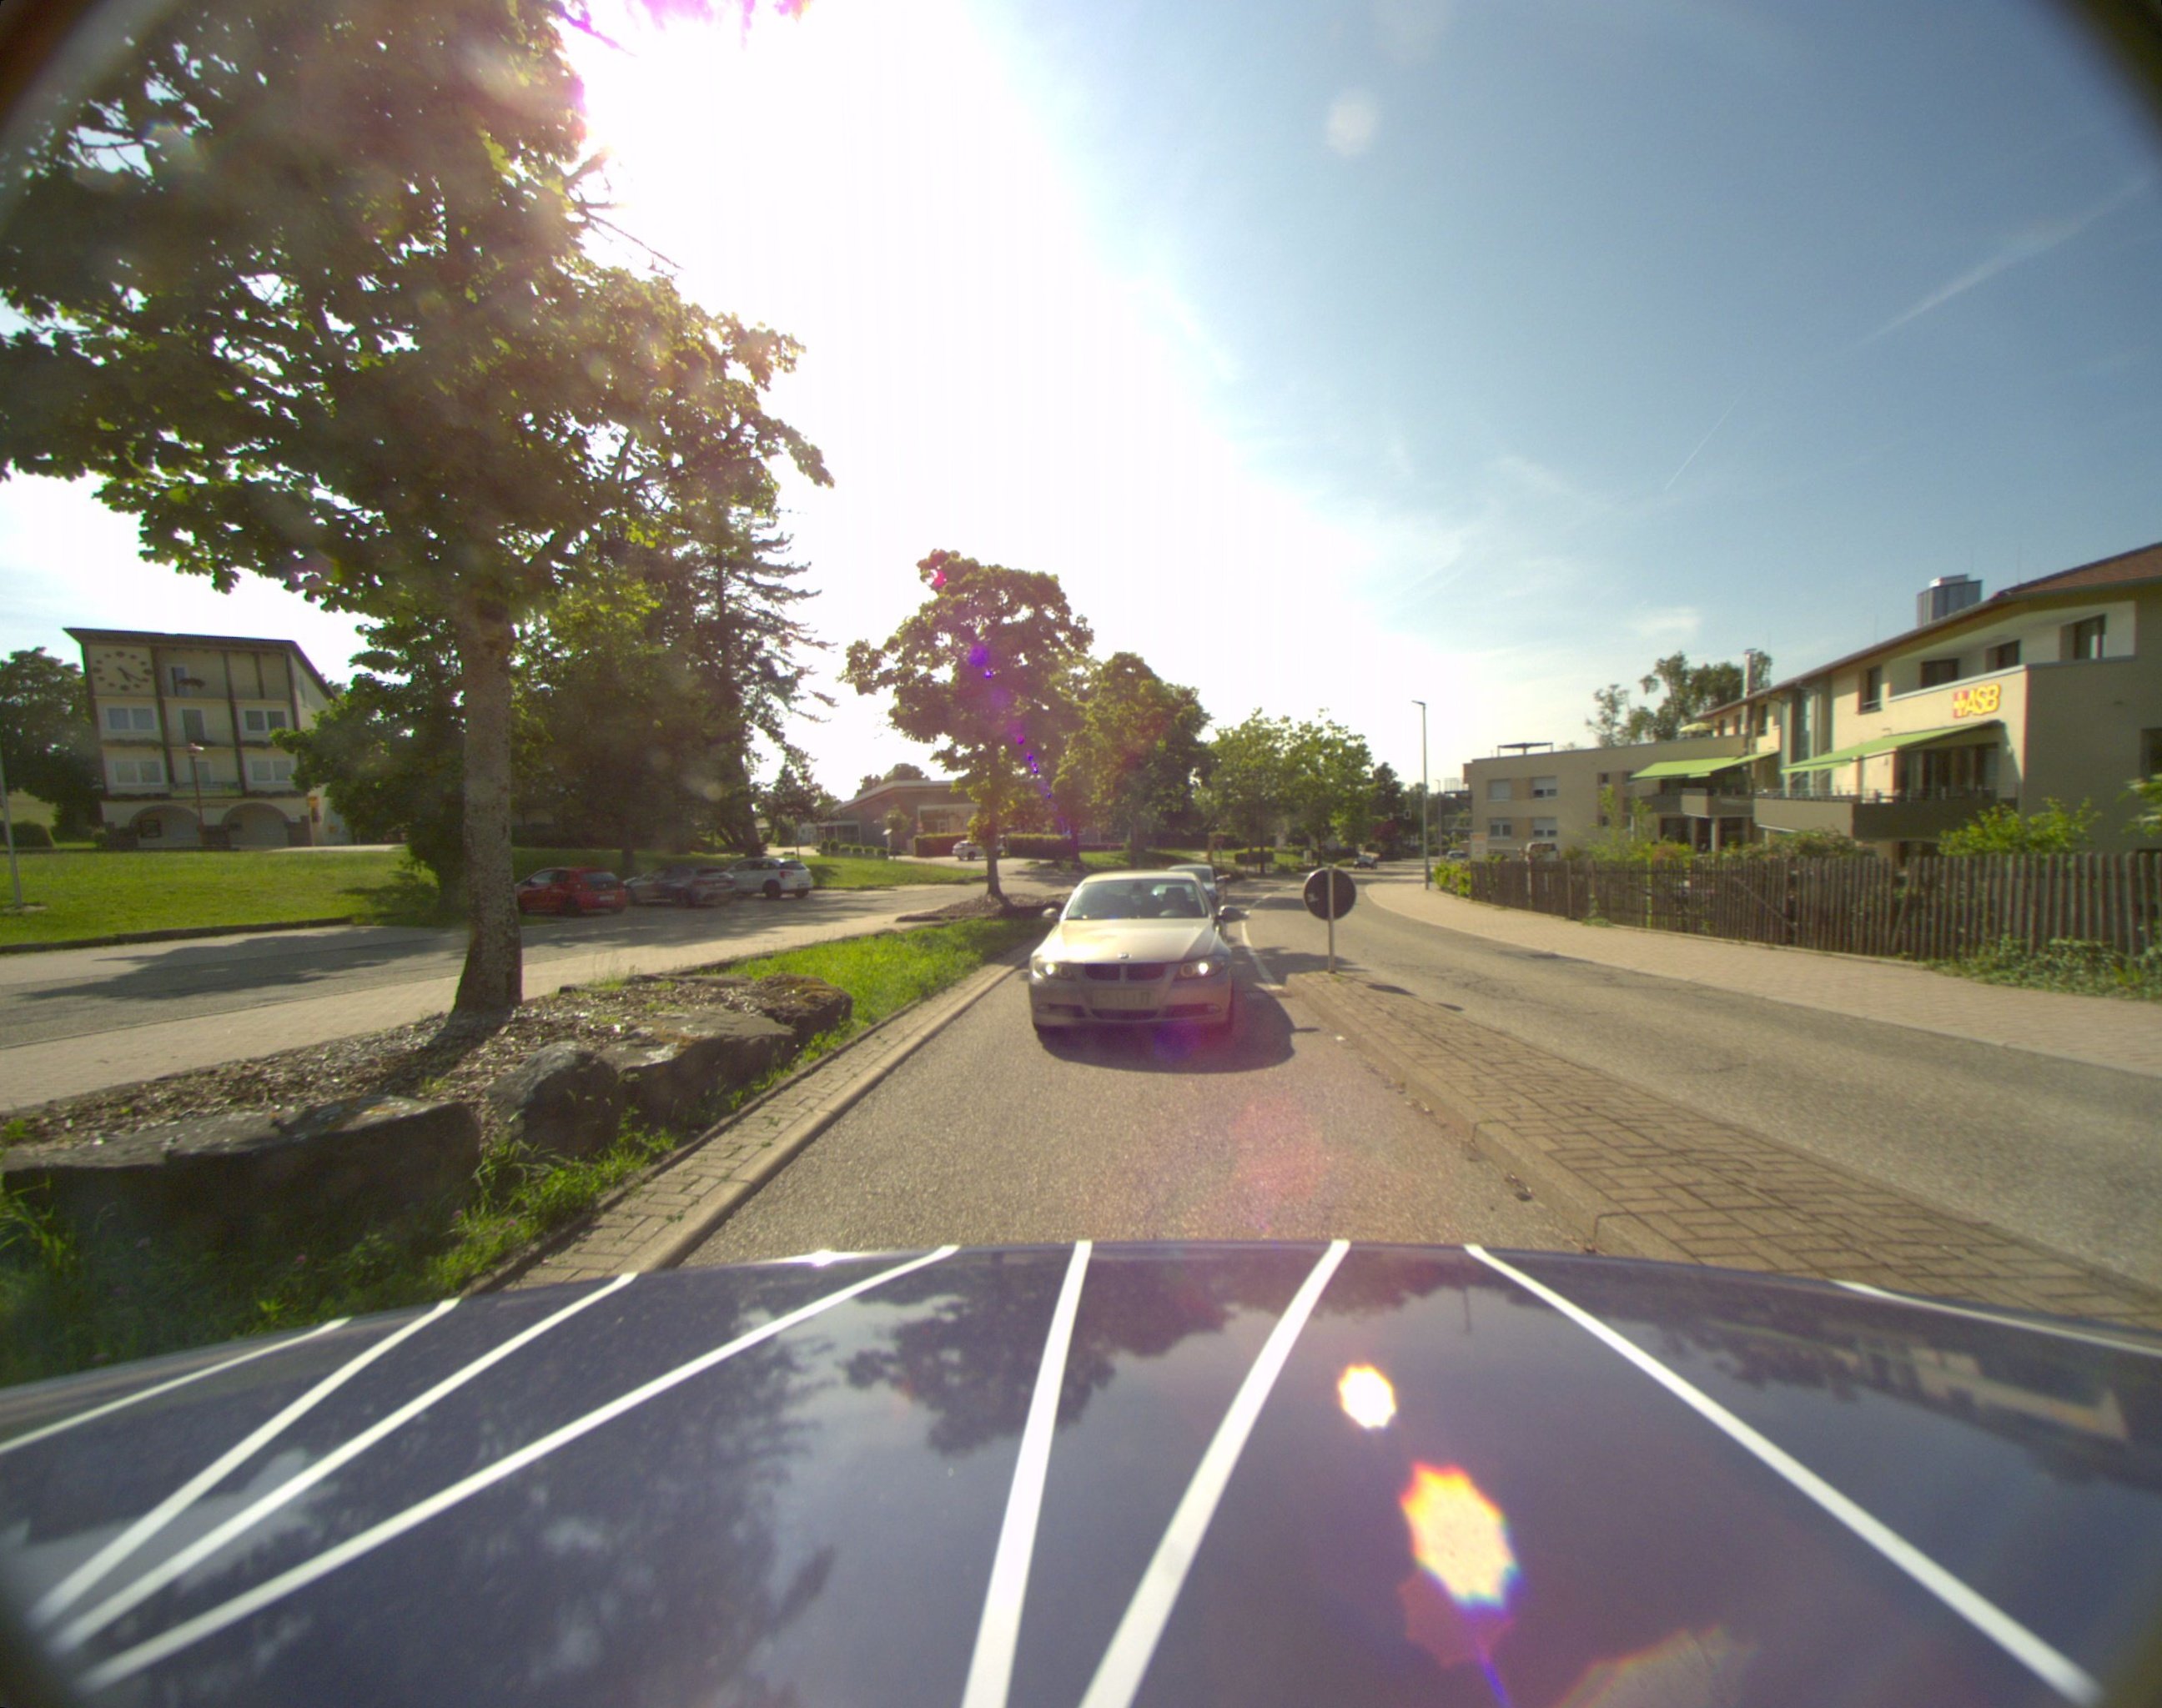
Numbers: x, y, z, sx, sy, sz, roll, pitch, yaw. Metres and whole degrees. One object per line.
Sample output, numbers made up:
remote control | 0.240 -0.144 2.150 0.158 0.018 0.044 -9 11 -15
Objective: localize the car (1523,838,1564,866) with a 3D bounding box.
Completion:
car | 30.823 -0.176 50.714 1.555 1.789 3.460 1 1 19

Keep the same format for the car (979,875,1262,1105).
car | 0.504 0.989 7.347 1.838 1.360 4.583 -2 0 6

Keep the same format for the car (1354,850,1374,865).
car | 26.843 0.288 72.030 1.476 1.357 2.807 1 1 25

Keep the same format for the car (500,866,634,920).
car | -15.587 1.138 23.066 3.305 1.396 1.716 1 2 20

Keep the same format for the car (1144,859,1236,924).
car | 3.084 0.938 20.812 1.900 1.499 4.005 1 1 16

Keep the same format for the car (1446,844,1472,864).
car | 28.213 -0.021 56.774 1.351 1.389 3.317 -2 1 21

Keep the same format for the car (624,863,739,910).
car | -13.728 1.077 26.142 3.530 1.419 1.688 1 1 24

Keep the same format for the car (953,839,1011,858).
car | -8.119 -0.445 62.450 4.377 1.506 1.788 0 1 -37

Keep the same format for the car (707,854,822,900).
car | -12.513 0.861 30.034 3.989 1.609 2.003 1 1 24
